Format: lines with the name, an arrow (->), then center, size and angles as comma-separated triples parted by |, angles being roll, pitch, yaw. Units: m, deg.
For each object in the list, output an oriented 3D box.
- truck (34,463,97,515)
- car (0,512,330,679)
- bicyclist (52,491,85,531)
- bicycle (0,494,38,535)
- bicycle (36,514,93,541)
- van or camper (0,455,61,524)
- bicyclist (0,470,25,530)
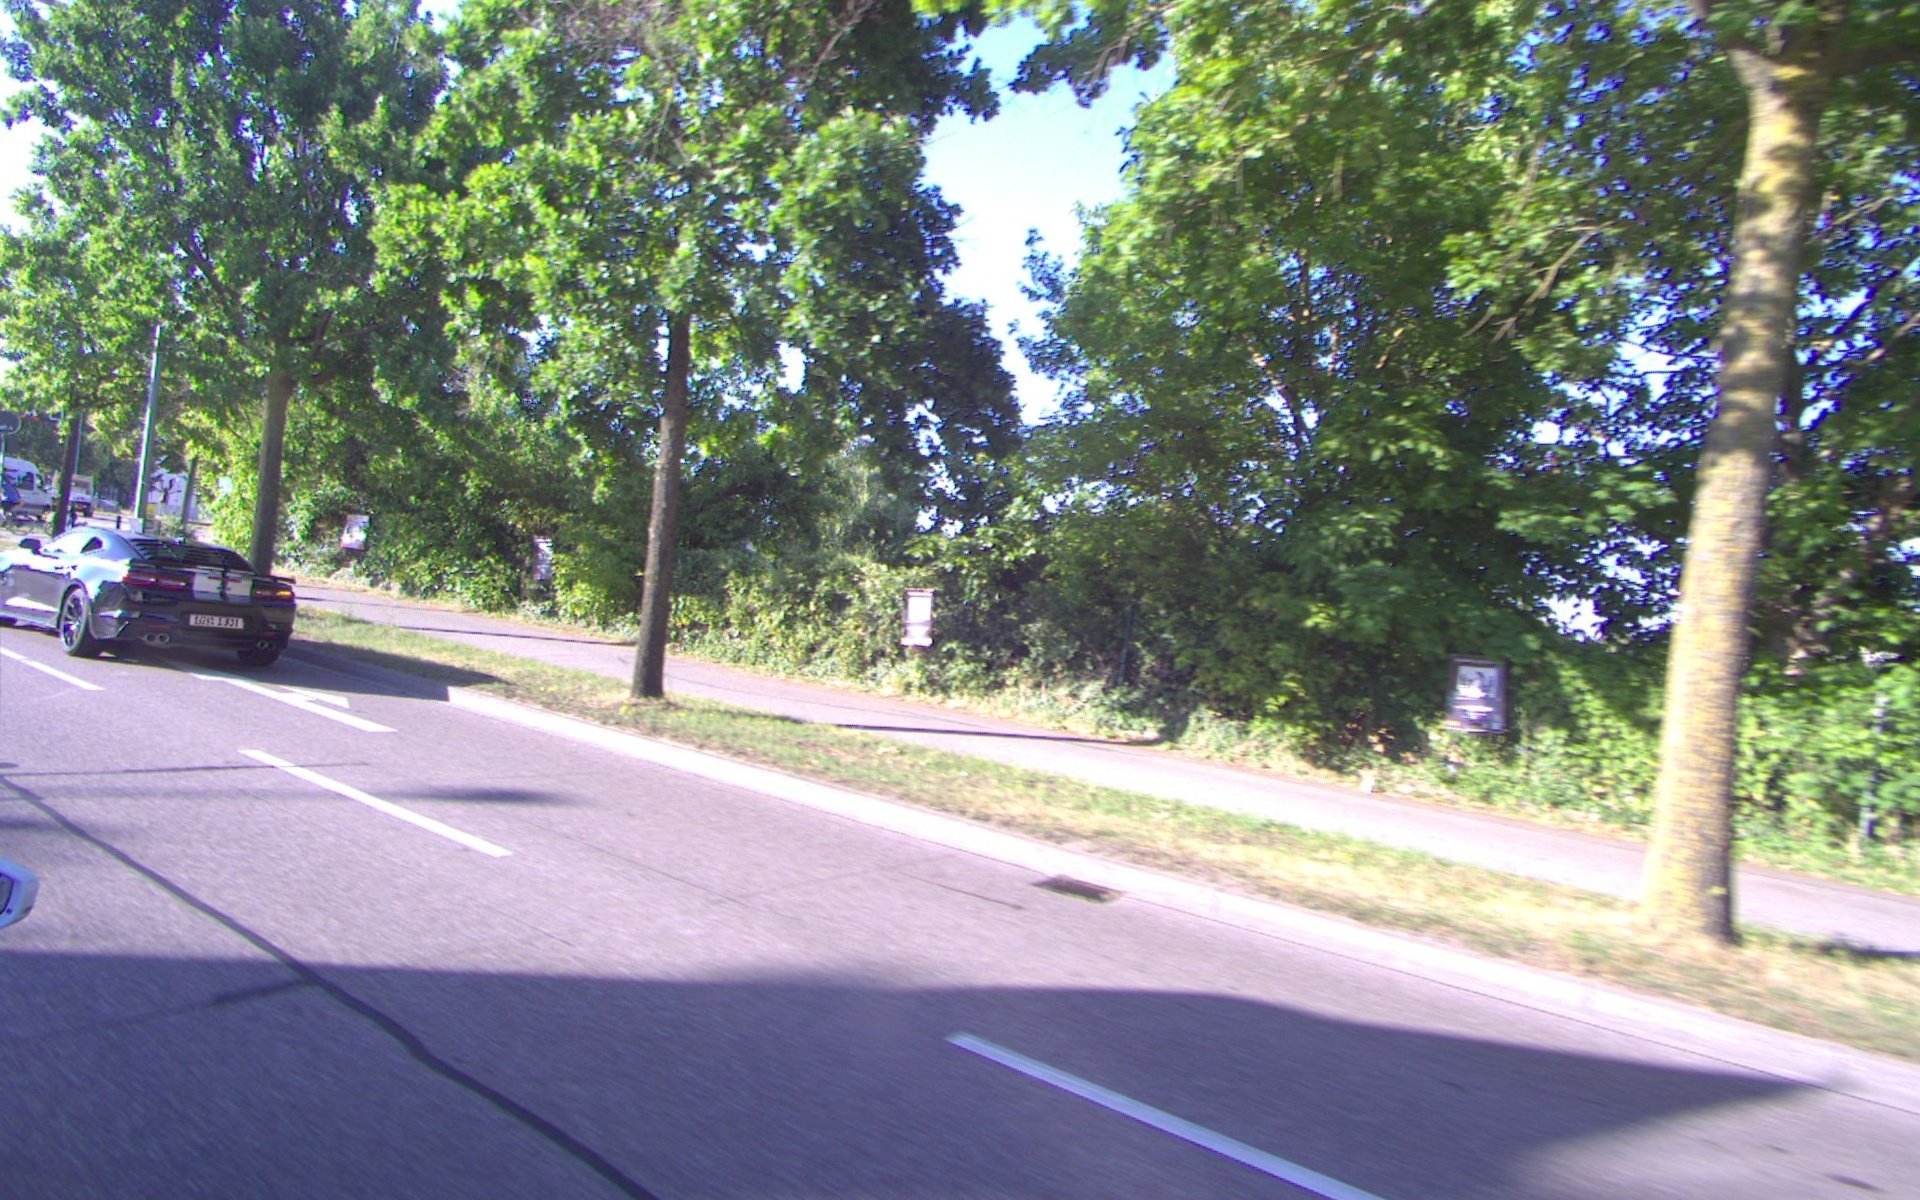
truck -> -54.569, -6.763, 61.422 | 2.571, 2.590, 6.176 | 6, 1, -42
car -> -9.559, -0.105, 11.726 | 4.549, 1.353, 1.858 | 6, -3, 32
bicyclist -> -31.593, -3.154, 35.666 | 0.457, 1.311, 0.650 | 8, 2, 15
bicycle -> -31.750, -2.873, 33.148 | 1.883, 1.260, 0.606 | 6, 2, -21
bicycle -> -31.676, -2.551, 35.603 | 0.431, 0.796, 1.464 | 7, 1, 16
van or camper -> -41.453, -4.871, 42.939 | 2.262, 2.660, 6.548 | 8, -1, -22
bicyclist -> -31.629, -3.318, 33.162 | 0.926, 1.924, 0.598 | 5, 2, -21
